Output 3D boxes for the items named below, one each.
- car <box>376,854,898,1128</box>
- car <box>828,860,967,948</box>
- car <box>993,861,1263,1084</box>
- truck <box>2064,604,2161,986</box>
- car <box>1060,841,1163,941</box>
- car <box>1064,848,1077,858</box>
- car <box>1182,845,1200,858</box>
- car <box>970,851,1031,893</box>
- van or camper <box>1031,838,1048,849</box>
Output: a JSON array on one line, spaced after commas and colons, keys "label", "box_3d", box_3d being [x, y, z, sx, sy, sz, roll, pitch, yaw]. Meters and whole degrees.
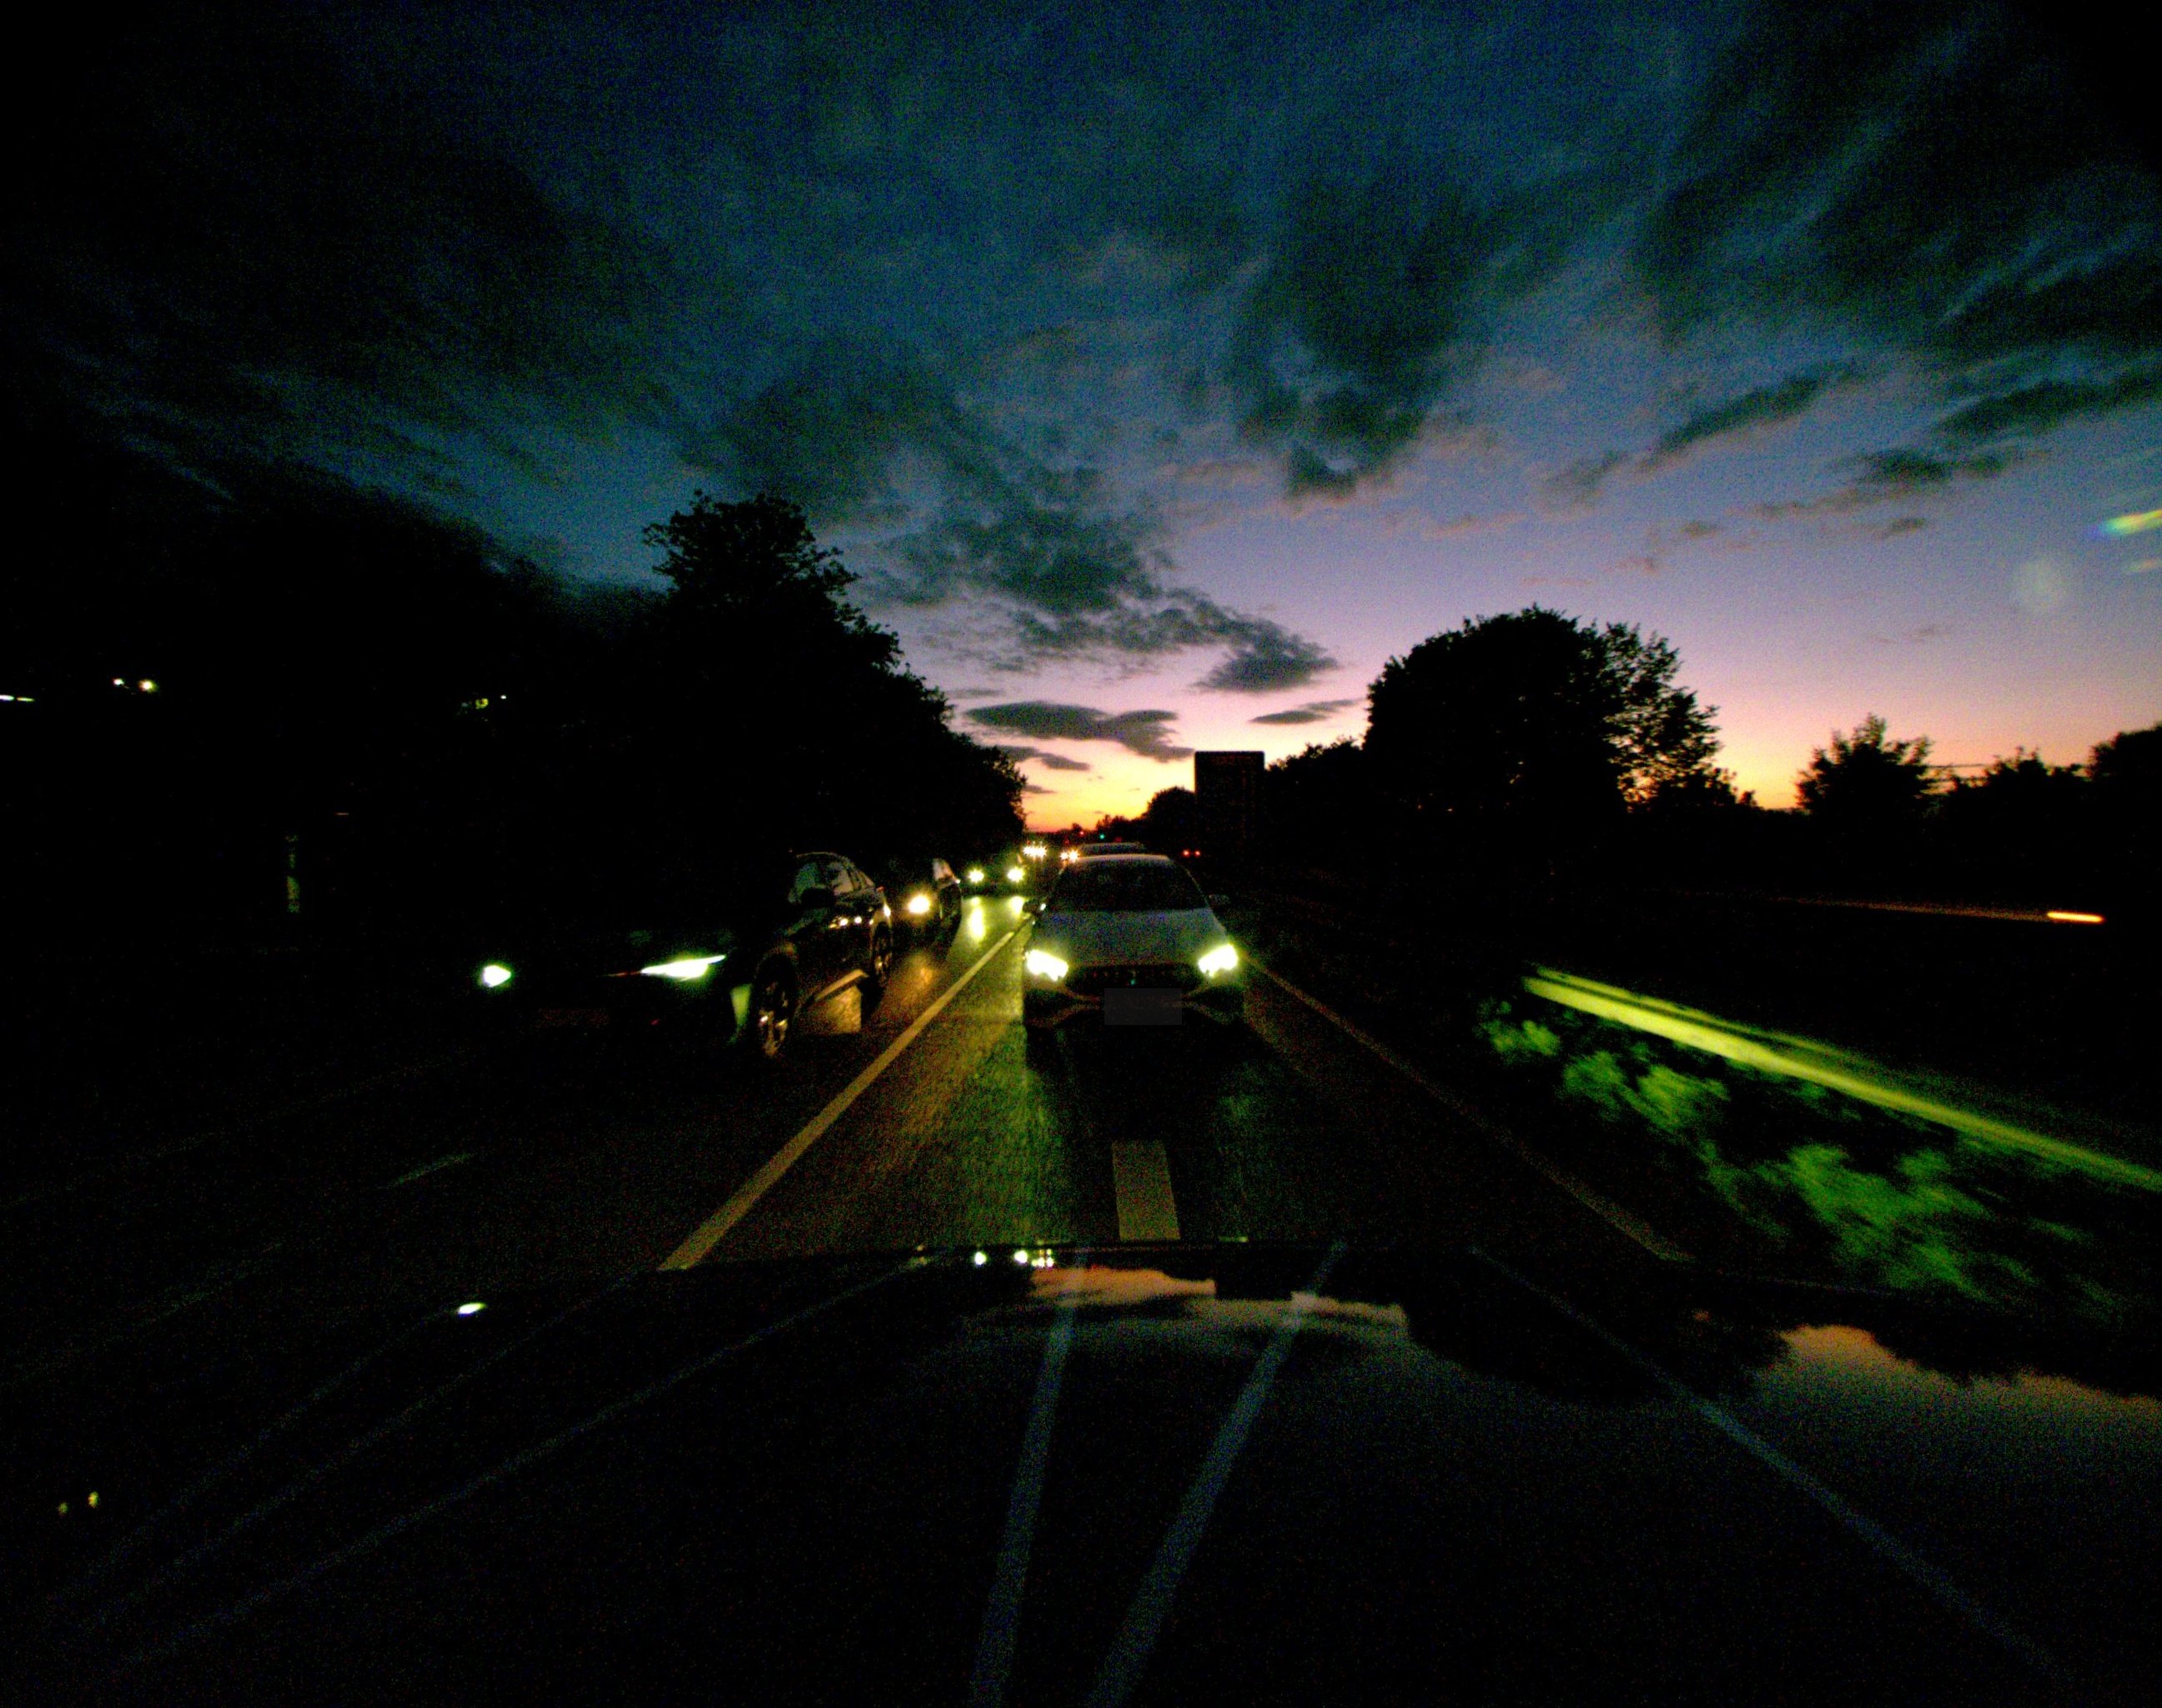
[{"label": "car", "box_3d": [-3.195, 0.831, 6.720, 1.901, 1.548, 4.301, -3, 0, 2]}, {"label": "car", "box_3d": [-3.368, 0.849, 14.630, 1.621, 1.405, 3.755, -1, 0, 2]}, {"label": "car", "box_3d": [0.397, 0.849, 7.617, 1.819, 1.428, 4.646, -3, 0, 2]}, {"label": "truck", "box_3d": [12.804, -0.553, 3.732, 2.732, 4.094, 10.345, -1, 1, 2]}, {"label": "car", "box_3d": [0.598, 0.644, 15.457, 1.760, 1.692, 4.249, -2, 0, 2]}, {"label": "car", "box_3d": [-1.323, -0.119, 96.963, 1.606, 1.291, 3.552, 0, 1, -1]}, {"label": "car", "box_3d": [14.076, -0.338, 97.206, 1.633, 1.496, 4.590, 0, 1, 0]}, {"label": "car", "box_3d": [-3.009, 0.635, 29.270, 1.819, 1.360, 3.999, -2, 1, 1]}, {"label": "van or camper", "box_3d": [-11.690, -2.914, 212.140, 3.952, 3.107, 9.933, 0, 1, -8]}]
